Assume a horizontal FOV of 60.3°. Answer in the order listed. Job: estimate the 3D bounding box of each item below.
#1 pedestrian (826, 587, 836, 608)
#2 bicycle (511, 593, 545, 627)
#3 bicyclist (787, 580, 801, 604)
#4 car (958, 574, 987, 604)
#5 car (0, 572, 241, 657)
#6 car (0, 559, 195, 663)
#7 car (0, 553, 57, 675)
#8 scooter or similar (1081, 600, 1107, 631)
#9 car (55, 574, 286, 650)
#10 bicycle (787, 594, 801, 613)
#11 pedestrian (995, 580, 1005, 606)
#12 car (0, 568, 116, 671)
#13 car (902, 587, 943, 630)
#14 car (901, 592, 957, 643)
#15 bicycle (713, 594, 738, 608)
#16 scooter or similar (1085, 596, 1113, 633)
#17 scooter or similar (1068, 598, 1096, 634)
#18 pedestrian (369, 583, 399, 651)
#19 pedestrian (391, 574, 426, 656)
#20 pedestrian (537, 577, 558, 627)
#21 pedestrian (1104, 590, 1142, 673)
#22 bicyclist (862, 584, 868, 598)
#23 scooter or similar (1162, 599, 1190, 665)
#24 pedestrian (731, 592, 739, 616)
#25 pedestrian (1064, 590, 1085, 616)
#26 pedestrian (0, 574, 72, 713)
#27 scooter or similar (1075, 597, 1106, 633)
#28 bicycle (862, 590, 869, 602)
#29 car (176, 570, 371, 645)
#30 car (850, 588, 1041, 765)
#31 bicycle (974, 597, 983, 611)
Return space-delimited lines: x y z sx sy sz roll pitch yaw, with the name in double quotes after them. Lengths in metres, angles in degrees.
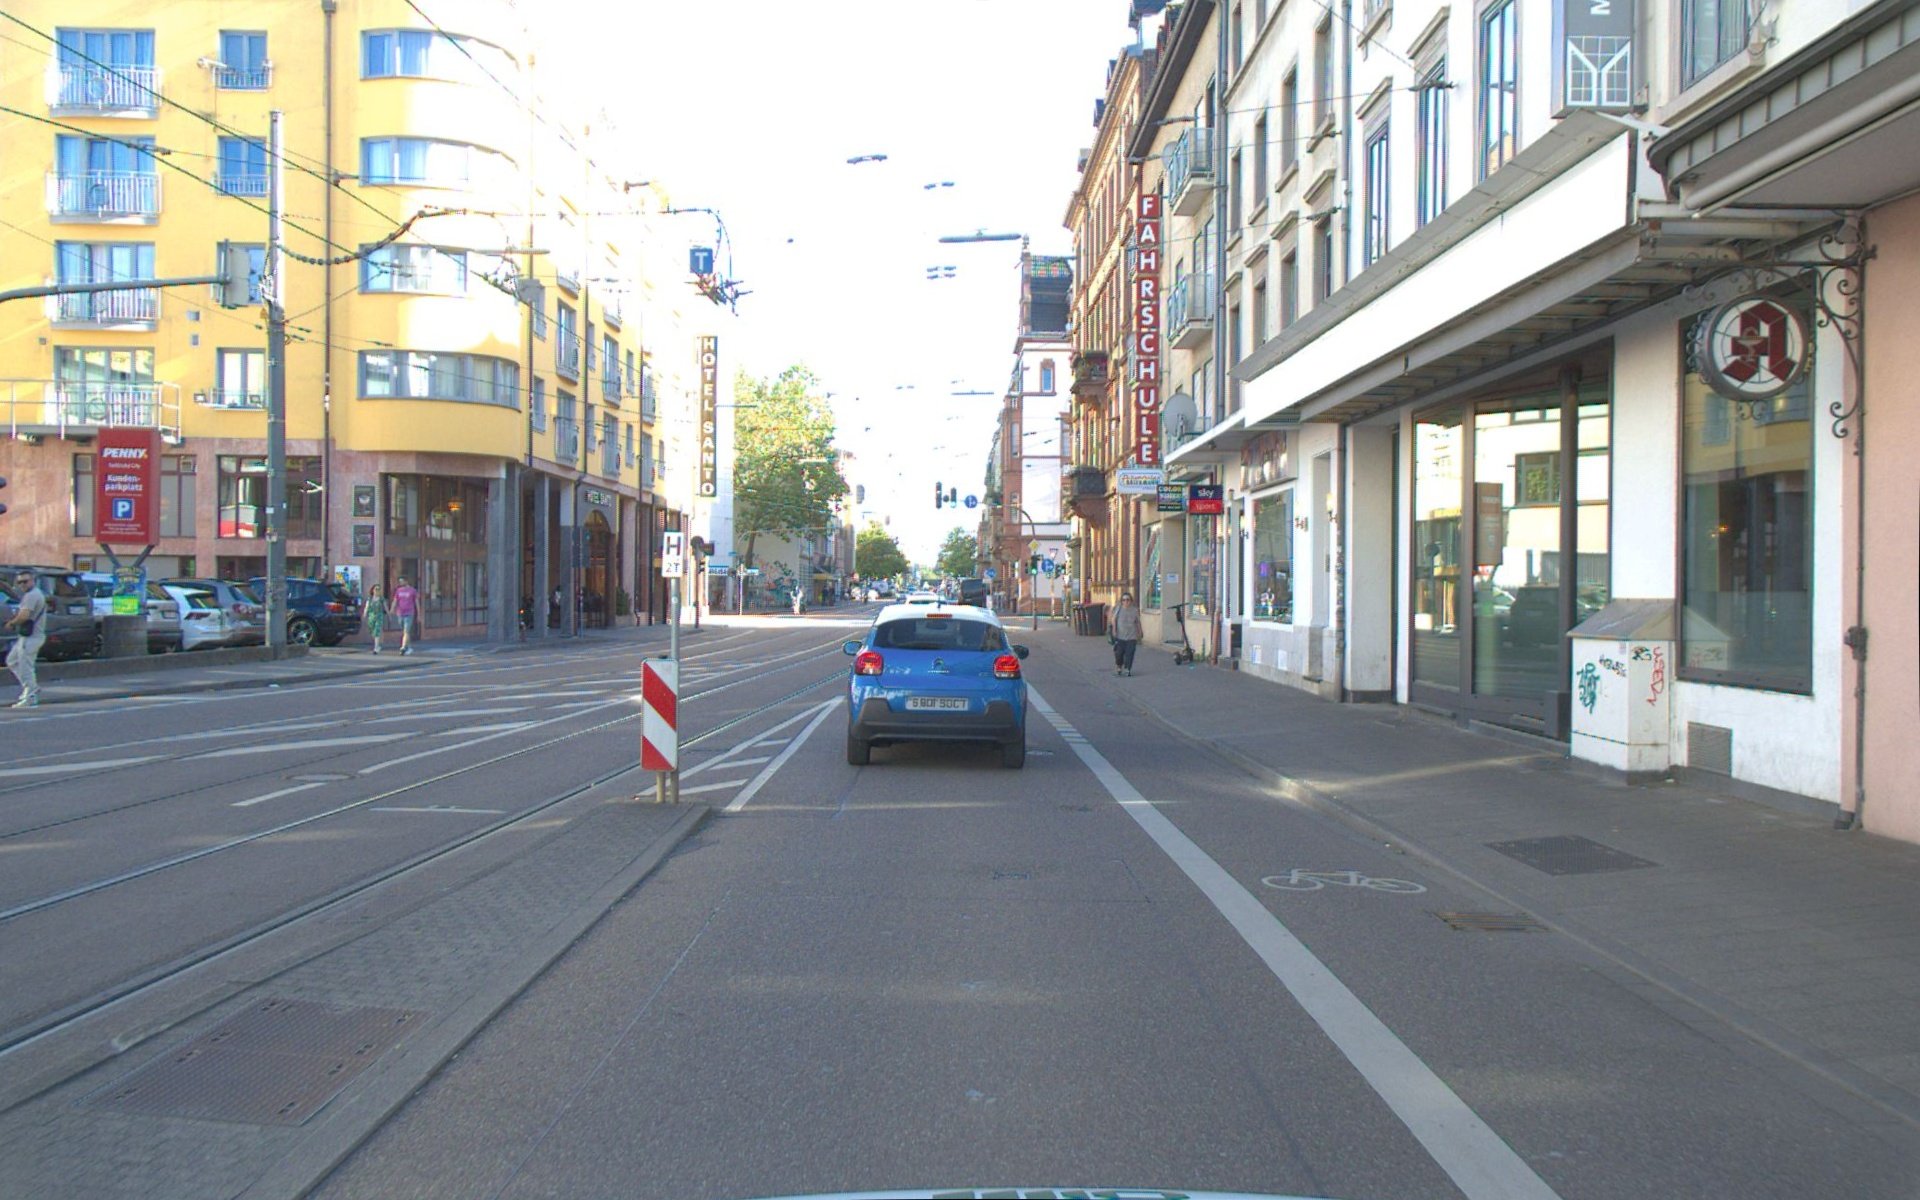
-11.556 -0.220 148.083 0.668 1.796 1.026 0 0 10 "pedestrian"
-15.833 0.354 60.646 0.569 1.224 2.081 0 0 4 "bicycle"
-10.180 -0.498 101.539 0.709 1.405 1.227 1 1 -2 "bicyclist"
1.003 -0.925 138.069 2.225 2.479 5.719 0 0 -1 "car"
-16.849 0.277 33.049 4.147 1.637 1.785 0 0 -1 "car"
-16.749 0.233 30.812 4.147 1.844 1.785 -1 -2 -1 "car"
-16.596 0.204 25.678 4.147 1.843 1.785 0 0 -1 "car"
4.560 0.525 56.291 0.774 0.974 0.680 -4 0 -3 "scooter or similar"
-17.154 0.287 36.079 4.147 1.575 1.785 -1 -2 -1 "car"
-10.191 0.219 101.581 0.716 1.107 2.061 0 0 -2 "bicycle"
2.884 -0.492 119.314 0.691 1.813 0.672 1 -1 -3 "pedestrian"
-16.744 0.305 28.361 3.614 1.702 1.785 1 0 -1 "car"
-1.873 0.376 81.579 1.953 2.049 3.999 0 0 -2 "car"
-0.977 0.503 50.631 1.633 1.504 3.999 0 0 -2 "car"
-18.405 0.093 129.800 1.878 1.052 0.665 0 0 25 "bicycle"
4.634 0.484 55.336 0.774 1.168 0.789 -4 0 -3 "scooter or similar"
4.273 0.563 58.013 0.879 1.168 0.547 -4 0 -3 "scooter or similar"
-14.025 0.417 40.255 0.560 1.645 0.499 0 0 -2 "pedestrian"
-13.339 0.357 39.993 0.624 1.980 0.709 0 0 -2 "pedestrian"
-15.053 0.069 60.426 0.549 1.801 0.723 0 0 3 "pedestrian"
3.154 0.594 32.105 0.635 1.587 0.781 0 0 -2 "pedestrian"
-9.906 -0.954 172.372 0.668 1.509 0.778 0 0 -2 "bicyclist"
4.405 0.640 33.642 0.401 1.304 1.284 0 0 15 "scooter or similar"
-15.161 0.282 111.507 0.531 1.579 0.516 0 0 -3 "pedestrian"
6.463 0.182 93.610 0.926 1.482 0.816 0 0 -25 "pedestrian"
-12.279 0.564 21.877 0.700 1.795 0.779 0 0 -8 "pedestrian"
4.492 0.499 56.933 0.915 1.168 0.650 -4 0 -3 "scooter or similar"
-9.887 -0.427 172.482 0.679 1.140 2.083 0 1 -2 "bicycle"
-17.232 0.186 41.660 4.147 1.843 1.785 0 0 -1 "car"
-0.132 0.688 16.806 1.640 1.503 4.000 3 0 0 "car"
1.303 0.279 117.712 0.423 0.964 1.760 0 0 -8 "bicycle"
